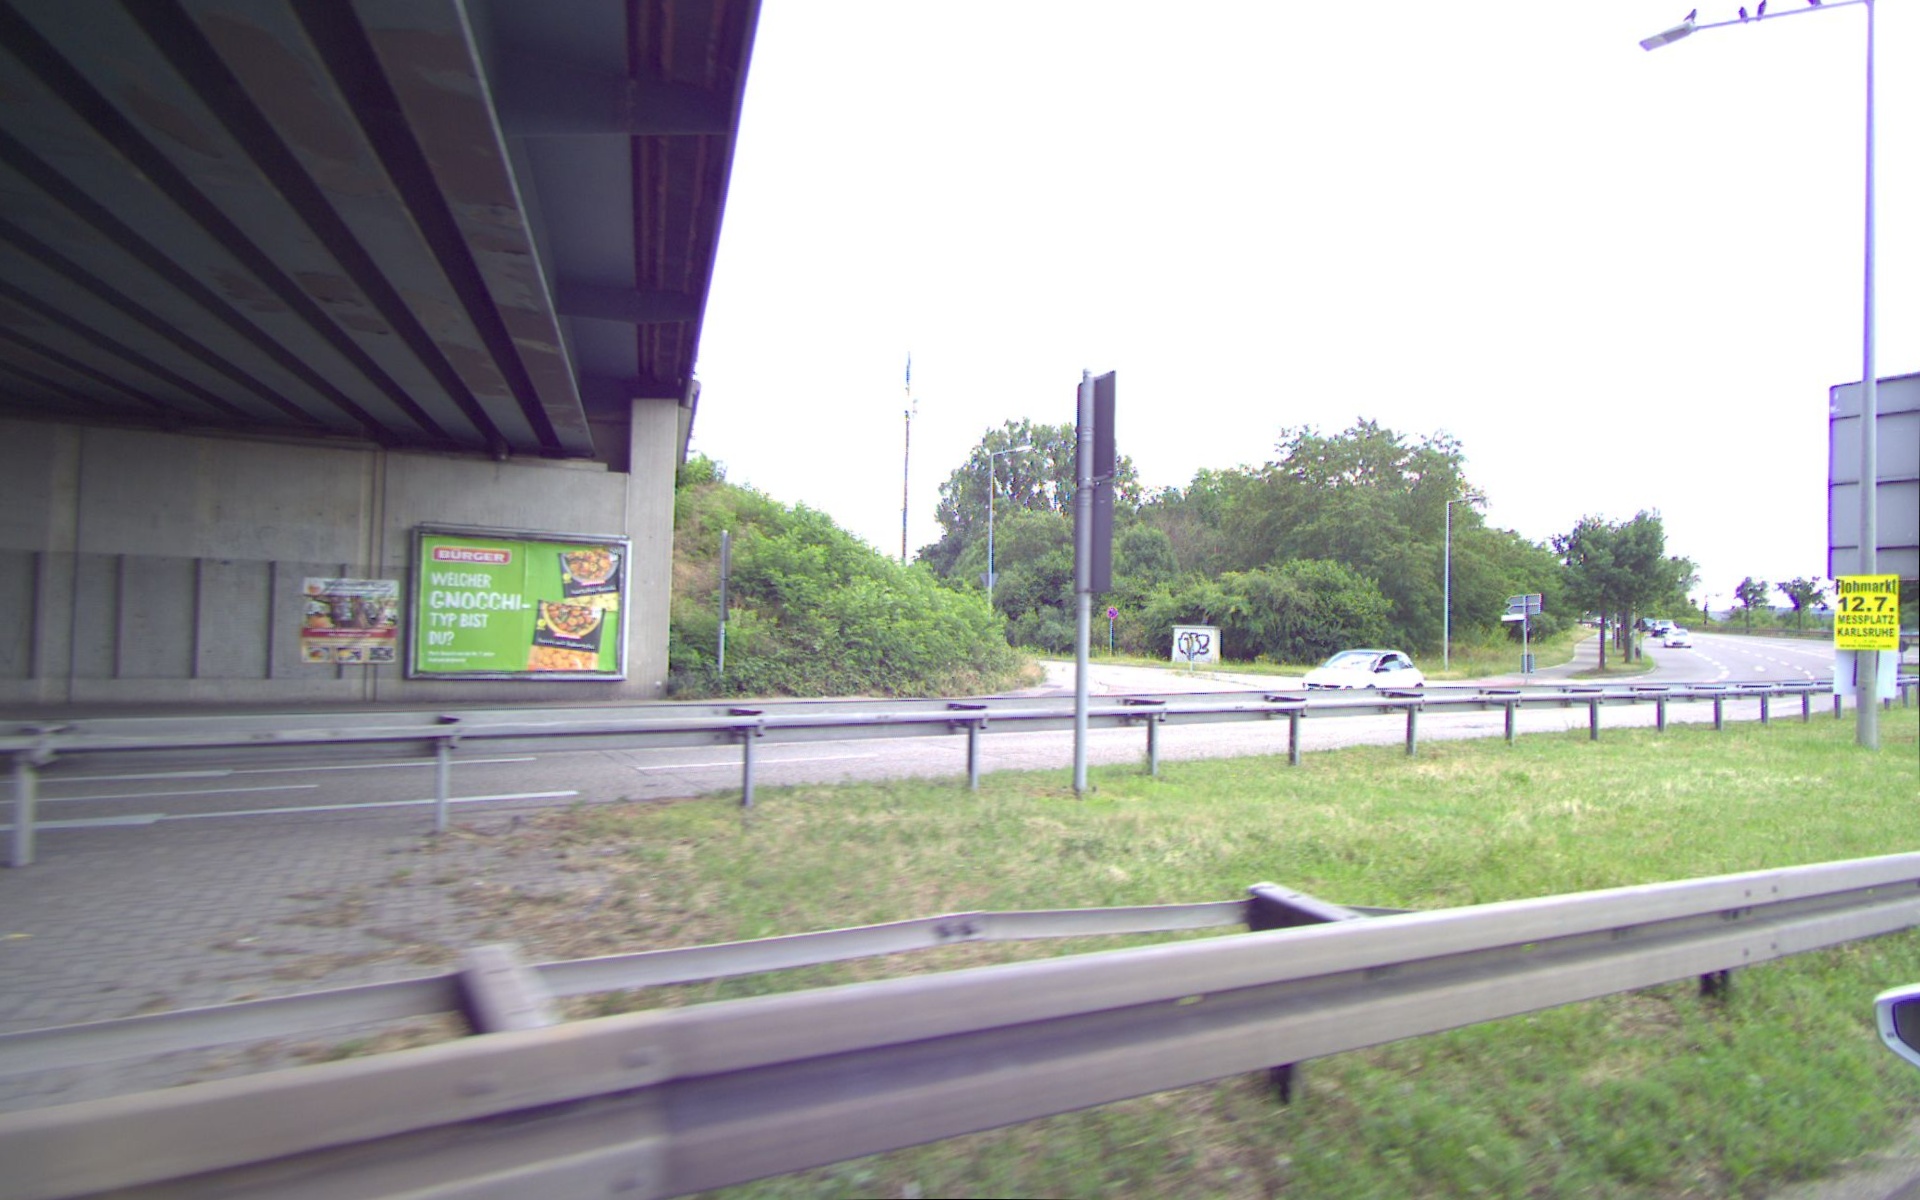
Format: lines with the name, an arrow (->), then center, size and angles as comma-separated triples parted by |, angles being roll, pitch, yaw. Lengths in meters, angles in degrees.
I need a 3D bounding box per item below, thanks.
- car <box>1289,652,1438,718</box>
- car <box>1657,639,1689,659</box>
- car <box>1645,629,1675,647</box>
car -> 10.358, 2.124, 25.707 | 3.962, 1.530, 1.740 | 3, -2, -36
car -> 59.836, 4.144, 84.293 | 1.969, 1.552, 4.314 | -3, -4, 38
car -> 75.094, 4.125, 107.781 | 1.963, 1.886, 4.710 | 0, -2, 26
